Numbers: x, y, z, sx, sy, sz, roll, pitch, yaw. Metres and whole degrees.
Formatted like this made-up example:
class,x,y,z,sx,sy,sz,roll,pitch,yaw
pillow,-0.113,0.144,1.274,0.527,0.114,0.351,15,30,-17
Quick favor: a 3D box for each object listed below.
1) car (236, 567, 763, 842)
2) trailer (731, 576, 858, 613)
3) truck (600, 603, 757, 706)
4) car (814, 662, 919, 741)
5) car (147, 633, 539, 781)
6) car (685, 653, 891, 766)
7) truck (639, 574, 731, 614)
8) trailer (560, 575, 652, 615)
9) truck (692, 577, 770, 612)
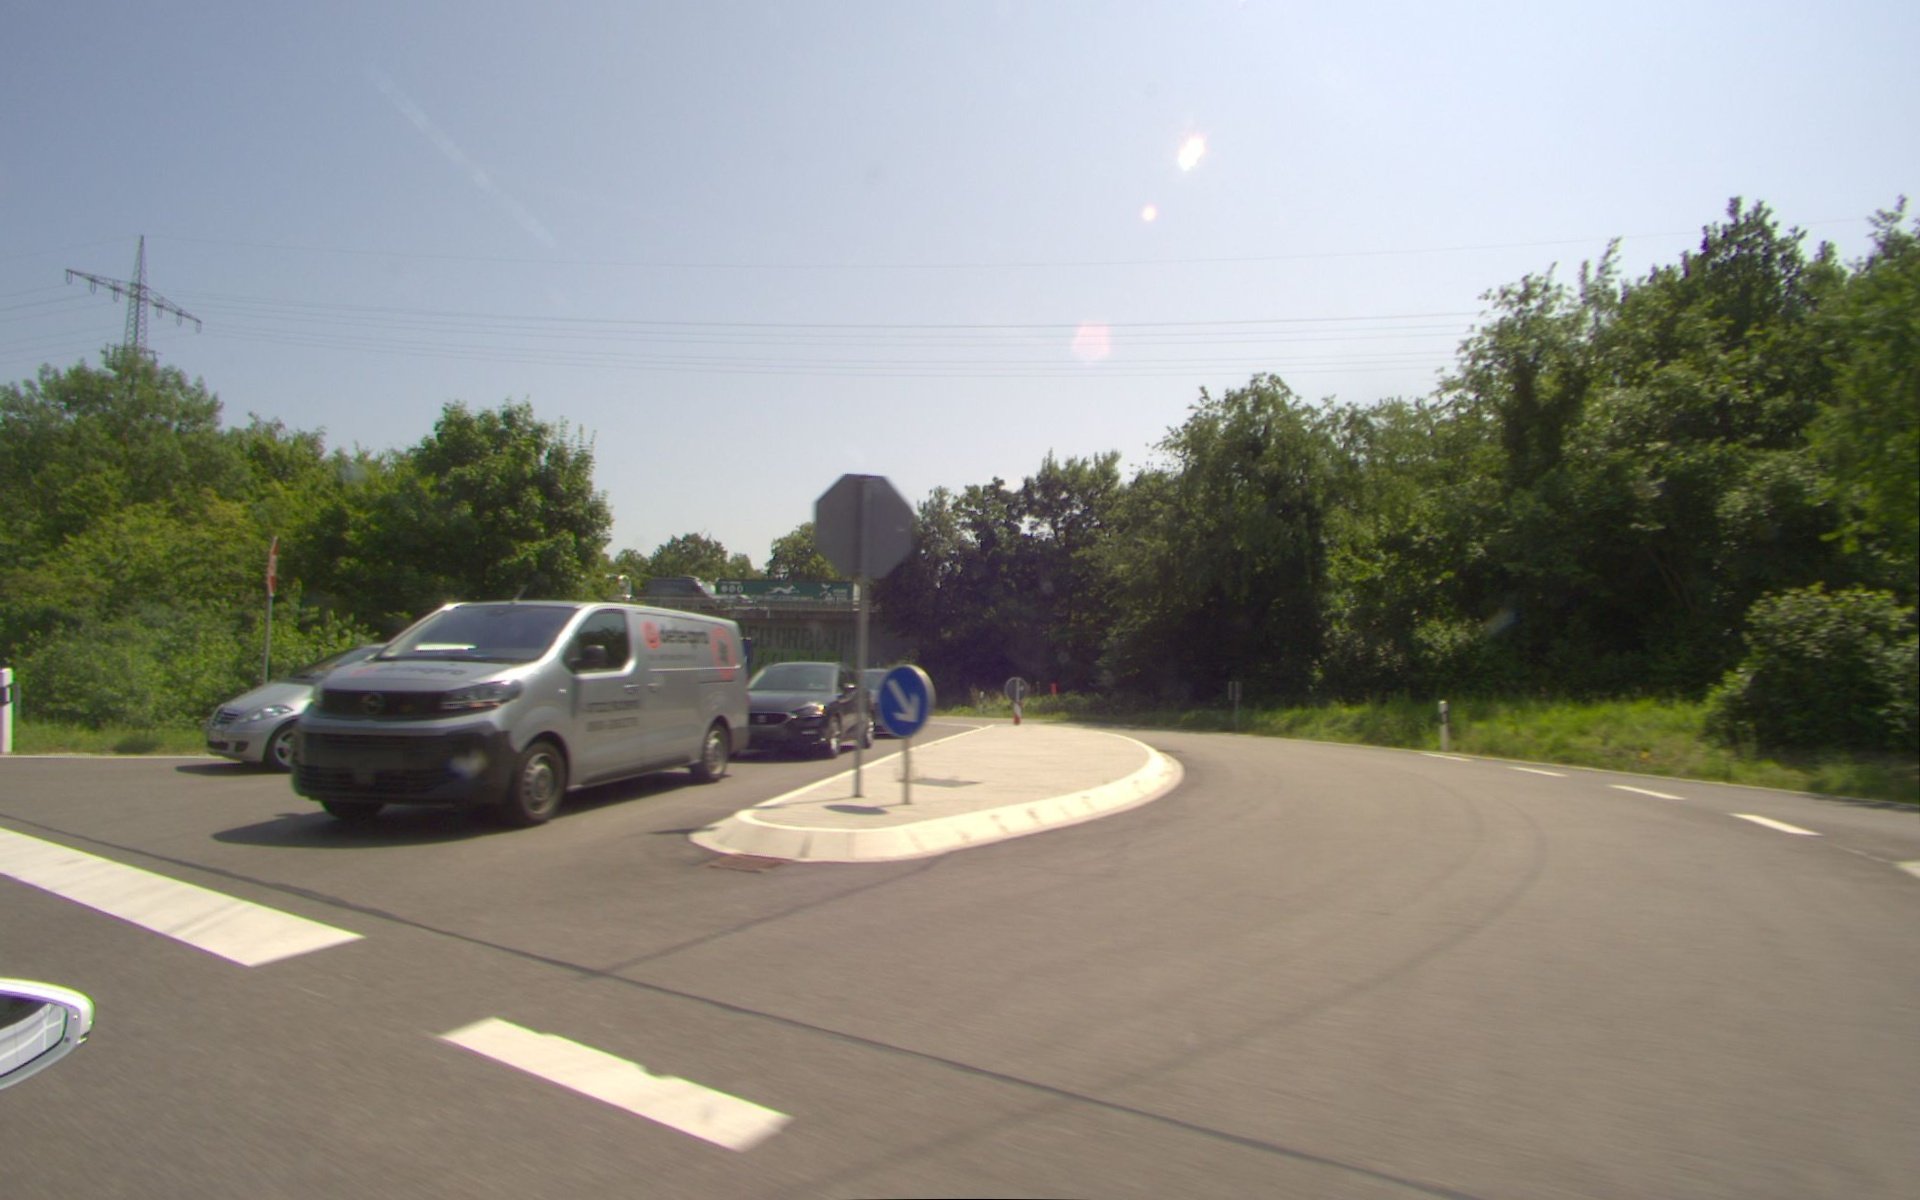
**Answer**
class,x,y,z,sx,sy,sz,roll,pitch,yaw
car,-3.870,0.924,9.805,1.975,1.929,5.233,0,-4,11
trailer,-15.569,-0.472,94.375,11.546,3.297,2.913,0,-1,9
truck,-16.989,3.056,59.022,3.335,5.383,15.223,1,-2,-38
car,-1.997,2.236,22.486,1.776,1.617,4.102,0,-4,3
car,-7.799,1.311,13.103,1.816,1.599,3.983,-1,-4,26
car,-2.505,1.653,15.881,1.832,1.491,4.568,0,-4,9
truck,-20.284,-0.406,74.014,6.155,2.855,2.246,0,-1,6
trailer,-26.350,-0.369,74.648,6.155,2.855,2.246,0,-1,6
truck,-21.725,-0.479,95.297,6.656,3.189,2.913,0,-1,8
